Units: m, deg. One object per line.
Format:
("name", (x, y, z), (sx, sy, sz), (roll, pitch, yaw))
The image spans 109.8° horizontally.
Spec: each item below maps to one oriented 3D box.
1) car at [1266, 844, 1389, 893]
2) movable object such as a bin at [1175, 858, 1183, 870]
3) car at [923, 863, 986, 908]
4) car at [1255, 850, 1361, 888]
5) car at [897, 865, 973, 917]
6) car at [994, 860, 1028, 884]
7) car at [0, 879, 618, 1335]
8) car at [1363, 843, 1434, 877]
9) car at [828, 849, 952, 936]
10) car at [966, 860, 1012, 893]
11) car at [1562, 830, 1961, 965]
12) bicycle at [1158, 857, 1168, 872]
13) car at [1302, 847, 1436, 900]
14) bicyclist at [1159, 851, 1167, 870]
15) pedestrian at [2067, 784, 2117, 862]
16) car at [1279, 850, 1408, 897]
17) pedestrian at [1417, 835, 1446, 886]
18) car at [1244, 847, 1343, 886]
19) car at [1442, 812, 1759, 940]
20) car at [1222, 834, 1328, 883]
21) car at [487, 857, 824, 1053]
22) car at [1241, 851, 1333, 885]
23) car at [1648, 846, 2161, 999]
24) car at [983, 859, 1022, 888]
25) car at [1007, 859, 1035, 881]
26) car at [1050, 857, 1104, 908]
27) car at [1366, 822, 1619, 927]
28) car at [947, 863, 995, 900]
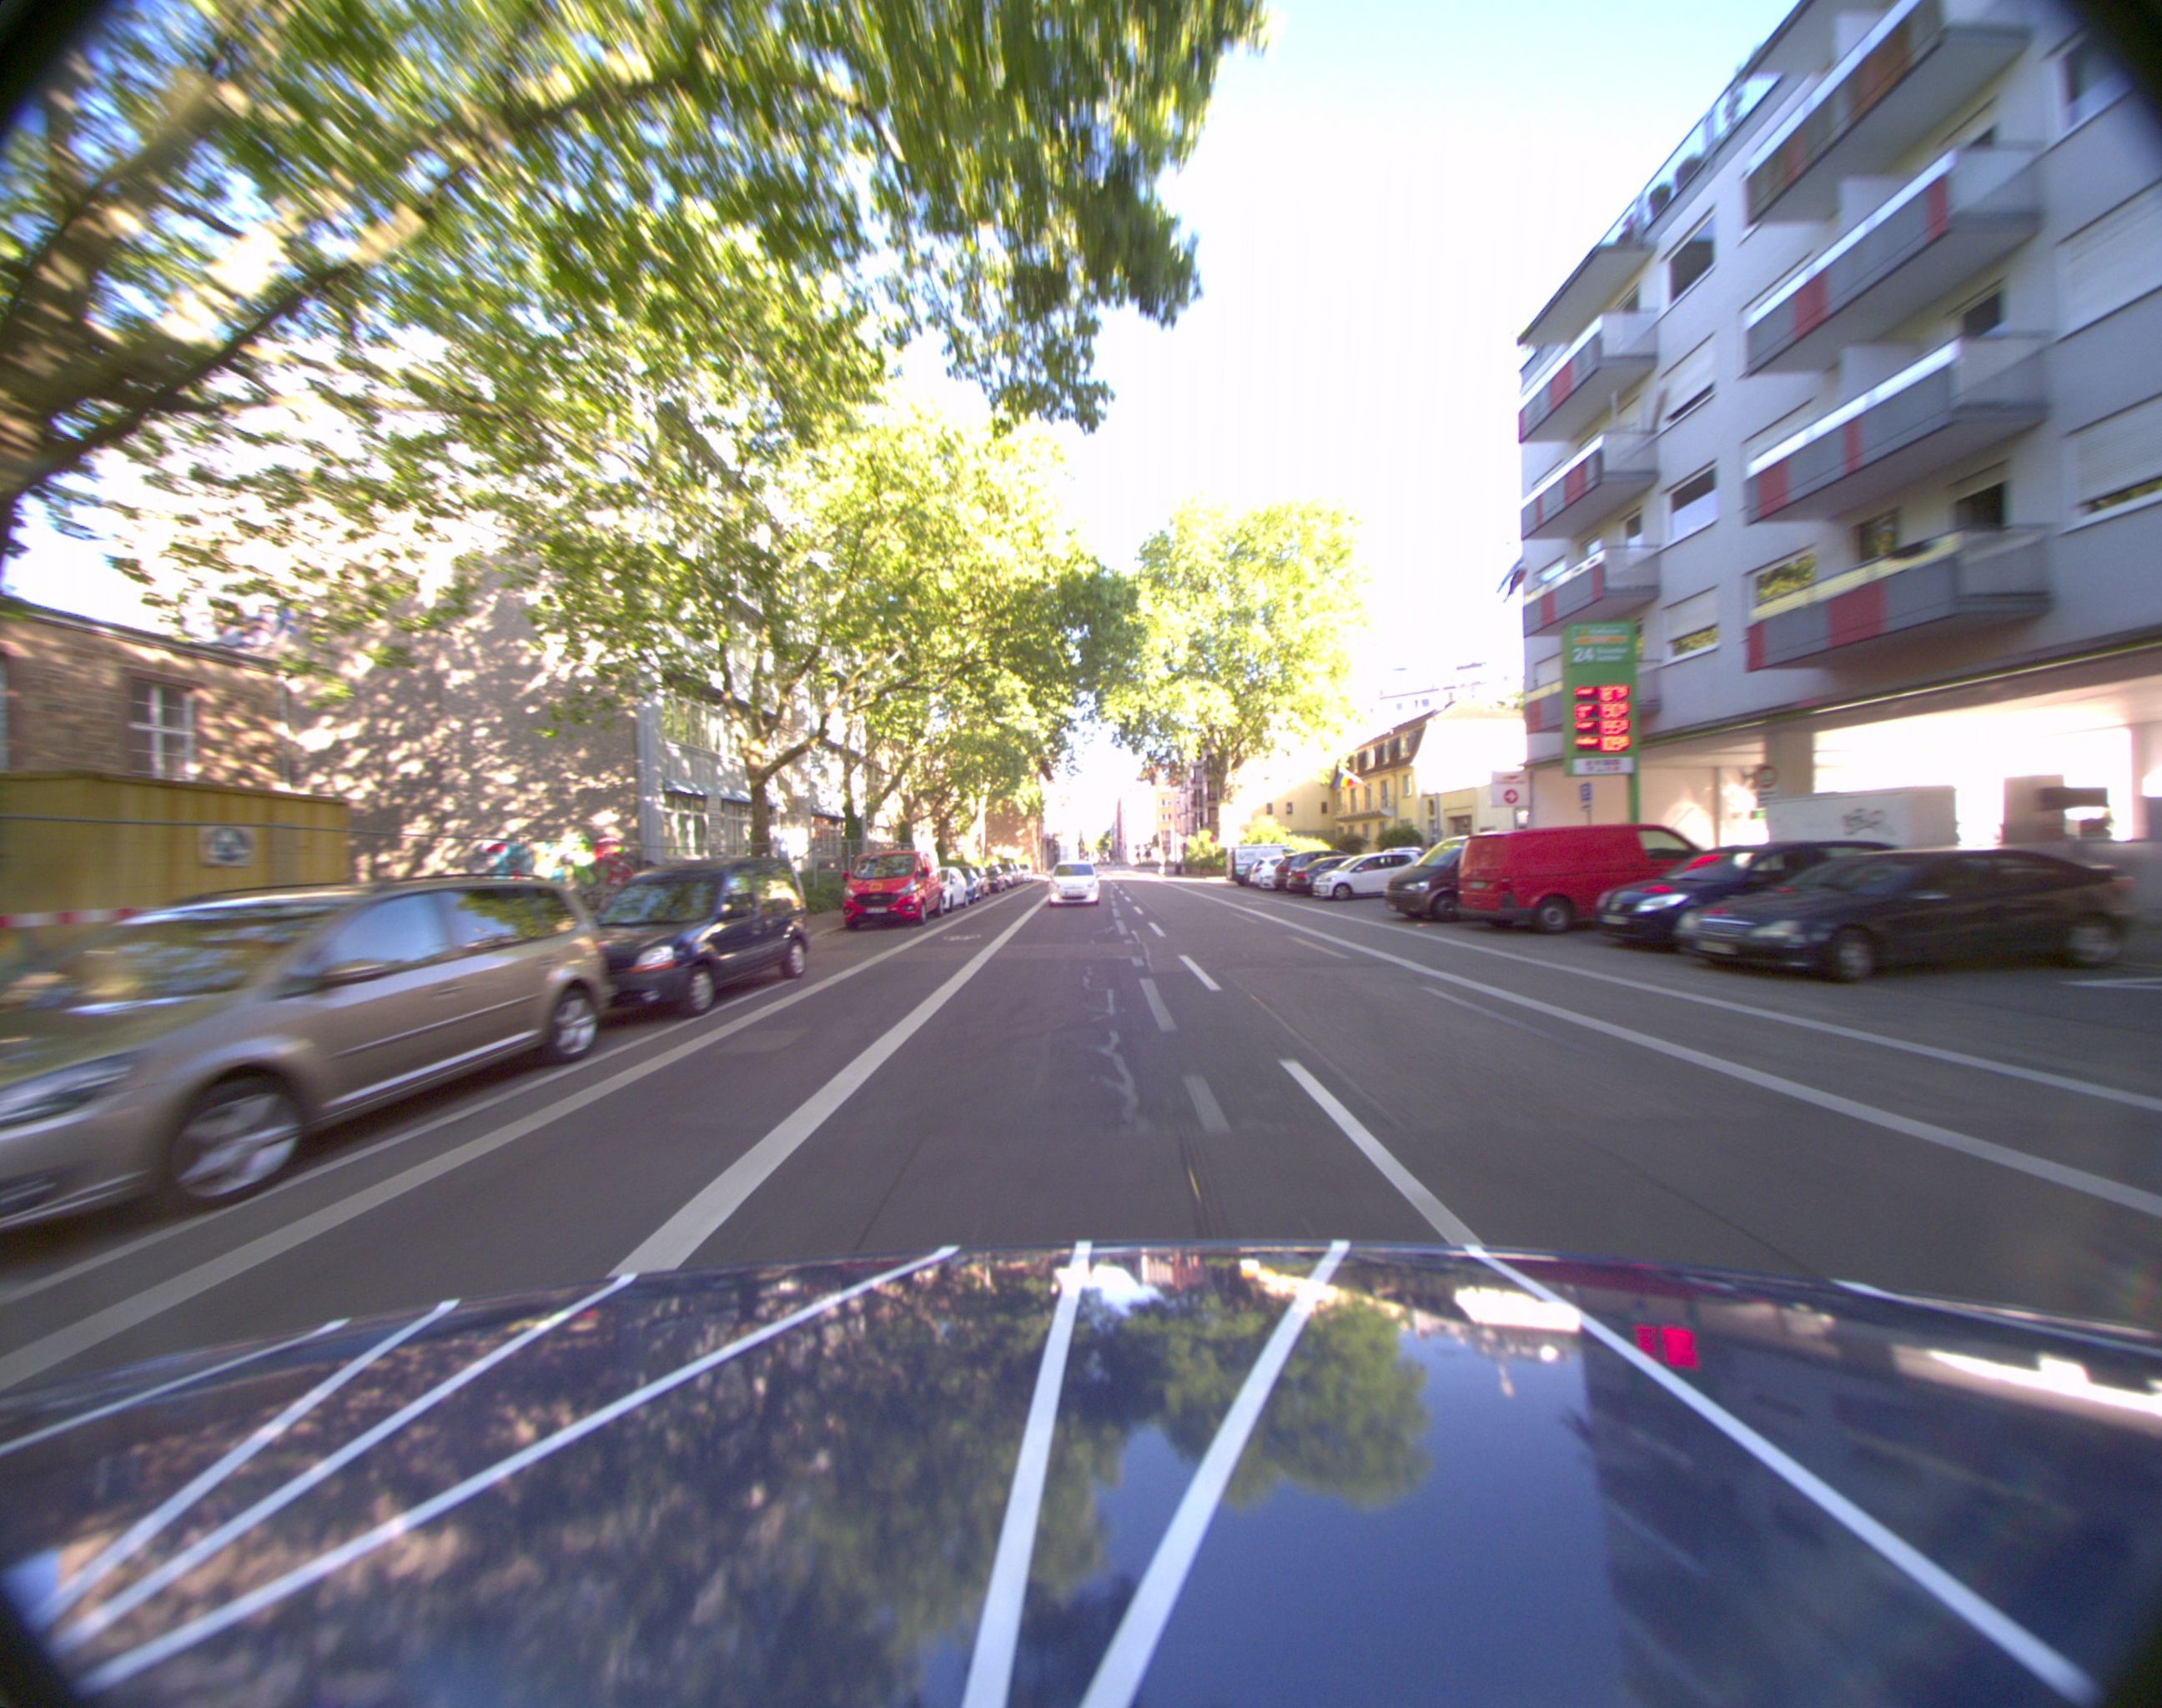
("car", (9.783, 0.545, 30.364), (4.204, 1.674, 2.028), (-3, 1, 0))
("movable object such as a bin", (8.968, 0.896, 69.540), (0.595, 1.065, 0.644), (-1, 1, 1))
("car", (-4.960, 1.186, 30.242), (1.860, 1.502, 3.928), (-4, 0, -2))
("car", (9.787, 0.647, 32.989), (3.997, 1.424, 1.853), (-3, 0, 0))
("car", (-4.836, 1.176, 25.682), (1.641, 1.477, 3.760), (-4, 0, 2))
("car", (-4.692, 1.178, 51.586), (1.860, 1.428, 4.602), (-3, 0, 0))
("car", (-5.134, 1.101, 4.850), (1.697, 1.618, 4.329), (-4, 0, -2))
("car", (15.592, 0.279, 37.588), (1.794, 1.455, 4.000), (-4, 0, 1))
("car", (-5.051, 0.914, 20.912), (2.083, 1.982, 5.170), (-3, 0, -1))
("car", (-4.835, 1.162, 40.526), (1.860, 1.514, 4.599), (-3, 0, 0))
("car", (9.921, 0.593, 11.361), (4.183, 1.554, 1.886), (-4, 1, 1))
("bicycle", (6.701, 0.836, 62.442), (0.608, 1.232, 2.049), (0, 0, 1))
("car", (9.530, 0.620, 25.347), (3.694, 1.504, 1.830), (-4, 1, 0))
("bicyclist", (6.759, 0.531, 62.795), (0.608, 1.536, 0.934), (0, 0, 1))
("pedestrian", (21.850, -0.658, 16.425), (0.538, 1.640, 0.636), (-1, 1, 44))
("car", (9.477, 0.685, 27.666), (3.997, 1.447, 1.916), (-3, 0, 0))
("pedestrian", (12.621, 0.234, 27.370), (0.633, 1.778, 0.722), (-2, 0, 0))
("car", (9.767, 0.571, 35.116), (3.997, 1.550, 1.853), (-3, 0, 0))
("car", (9.620, 0.384, 14.403), (4.432, 1.940, 2.146), (-4, 0, 1))
("car", (10.057, 0.210, 39.672), (4.856, 2.204, 2.140), (-3, 1, 0))
("car", (-4.898, 1.011, 9.568), (1.697, 1.802, 4.130), (-4, 0, 2))
("car", (10.101, 0.679, 37.497), (3.997, 1.424, 1.853), (-3, 0, 0))
("car", (9.631, 0.712, 9.001), (4.239, 1.372, 2.046), (-3, 1, 1))
("car", (-4.776, 1.152, 46.670), (1.860, 1.514, 4.296), (-3, 0, 0))
("car", (-4.500, 1.191, 57.508), (1.860, 1.428, 4.968), (-2, 0, -3))
("car", (-0.143, 0.909, 26.026), (1.683, 1.490, 3.684), (-2, 1, 0))
("car", (9.177, 0.435, 17.274), (4.534, 1.940, 2.056), (-4, 0, 1))
("car", (-4.976, 1.224, 34.710), (1.617, 1.466, 3.492), (-4, 0, 0))
